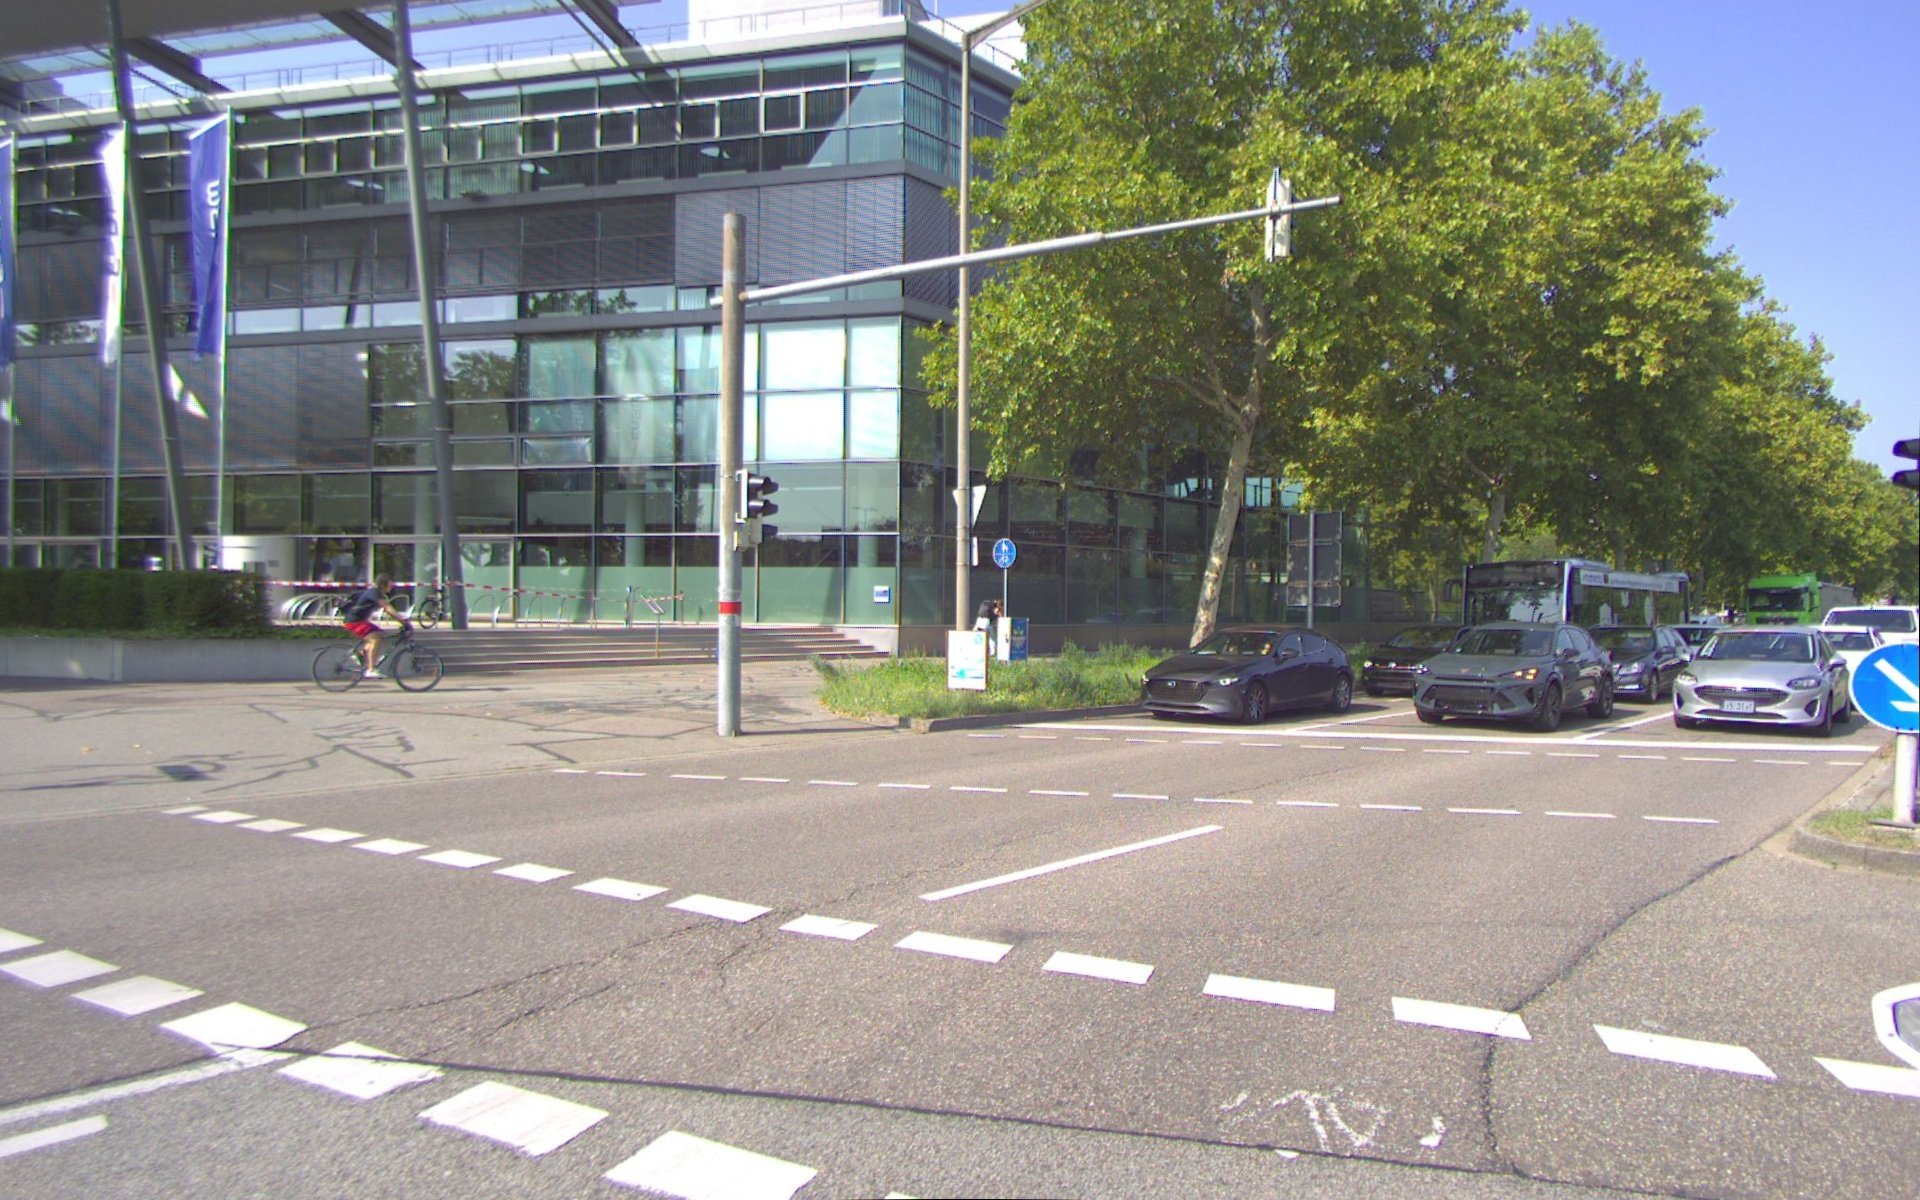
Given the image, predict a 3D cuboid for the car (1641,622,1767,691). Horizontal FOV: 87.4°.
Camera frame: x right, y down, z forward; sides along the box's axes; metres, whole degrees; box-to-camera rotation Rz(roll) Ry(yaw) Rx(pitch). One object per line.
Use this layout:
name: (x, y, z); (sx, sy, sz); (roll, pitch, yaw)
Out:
car: (17.315, 1.274, 23.315); (3.794, 1.486, 1.690); (2, -3, -43)

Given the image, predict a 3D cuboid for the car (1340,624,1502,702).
car: (9.642, 1.224, 20.880); (3.973, 1.409, 1.725); (1, 0, -44)

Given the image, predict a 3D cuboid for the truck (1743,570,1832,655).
truck: (40.481, 0.683, 49.062); (5.850, 3.870, 2.583); (2, -2, -43)

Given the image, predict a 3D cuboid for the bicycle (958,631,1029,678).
bicycle: (0.778, 1.232, 23.002); (1.819, 1.022, 0.498); (1, 0, -44)

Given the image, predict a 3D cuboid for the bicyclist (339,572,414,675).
bicyclist: (-9.002, 0.362, 15.518); (0.873, 1.538, 0.653); (2, 0, -22)

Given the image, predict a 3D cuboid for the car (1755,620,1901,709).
car: (16.033, 1.098, 18.487); (4.055, 1.421, 1.692); (1, 0, -44)

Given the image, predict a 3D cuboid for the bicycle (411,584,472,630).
bicycle: (-13.045, 0.184, 25.344); (0.516, 1.108, 1.868); (2, 0, 1)

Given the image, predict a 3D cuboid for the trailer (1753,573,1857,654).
trailer: (45.343, 0.866, 53.673); (13.714, 3.872, 2.609); (2, -3, -43)

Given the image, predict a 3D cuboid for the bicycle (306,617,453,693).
bicycle: (-8.943, 0.849, 15.546); (1.861, 1.125, 0.654); (2, 0, -22)

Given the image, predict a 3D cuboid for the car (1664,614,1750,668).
car: (27.754, 1.510, 37.249); (4.714, 1.913, 1.688); (2, -2, -43)

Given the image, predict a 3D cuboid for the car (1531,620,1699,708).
car: (12.695, 1.168, 19.381); (3.969, 1.461, 1.691); (2, 0, -41)

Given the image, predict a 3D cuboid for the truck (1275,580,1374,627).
truck: (24.708, 0.294, 67.813); (9.053, 2.899, 1.977); (2, 0, -40)

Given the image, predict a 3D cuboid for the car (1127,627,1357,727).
car: (4.574, 1.119, 15.967); (4.131, 1.371, 1.693); (1, -2, -44)

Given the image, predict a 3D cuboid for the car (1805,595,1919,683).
car: (21.594, 0.909, 23.770); (4.856, 1.888, 1.893); (2, -2, -43)

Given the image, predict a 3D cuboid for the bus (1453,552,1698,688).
bus: (17.651, 0.586, 28.176); (12.223, 3.120, 2.566); (2, 0, -43)

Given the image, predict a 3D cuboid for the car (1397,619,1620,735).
car: (8.509, 1.061, 15.417); (4.235, 1.524, 1.836); (1, -1, -44)

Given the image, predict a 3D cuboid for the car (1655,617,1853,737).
car: (11.615, 1.006, 14.604); (3.970, 1.515, 1.628); (1, -1, -42)

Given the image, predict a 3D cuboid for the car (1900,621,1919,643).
car: (63.283, 2.098, 66.173); (3.828, 1.417, 1.600); (2, -3, -42)

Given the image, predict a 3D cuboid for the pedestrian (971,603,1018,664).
pedestrian: (0.785, 0.761, 23.006); (1.025, 1.368, 0.493); (1, 0, -43)
